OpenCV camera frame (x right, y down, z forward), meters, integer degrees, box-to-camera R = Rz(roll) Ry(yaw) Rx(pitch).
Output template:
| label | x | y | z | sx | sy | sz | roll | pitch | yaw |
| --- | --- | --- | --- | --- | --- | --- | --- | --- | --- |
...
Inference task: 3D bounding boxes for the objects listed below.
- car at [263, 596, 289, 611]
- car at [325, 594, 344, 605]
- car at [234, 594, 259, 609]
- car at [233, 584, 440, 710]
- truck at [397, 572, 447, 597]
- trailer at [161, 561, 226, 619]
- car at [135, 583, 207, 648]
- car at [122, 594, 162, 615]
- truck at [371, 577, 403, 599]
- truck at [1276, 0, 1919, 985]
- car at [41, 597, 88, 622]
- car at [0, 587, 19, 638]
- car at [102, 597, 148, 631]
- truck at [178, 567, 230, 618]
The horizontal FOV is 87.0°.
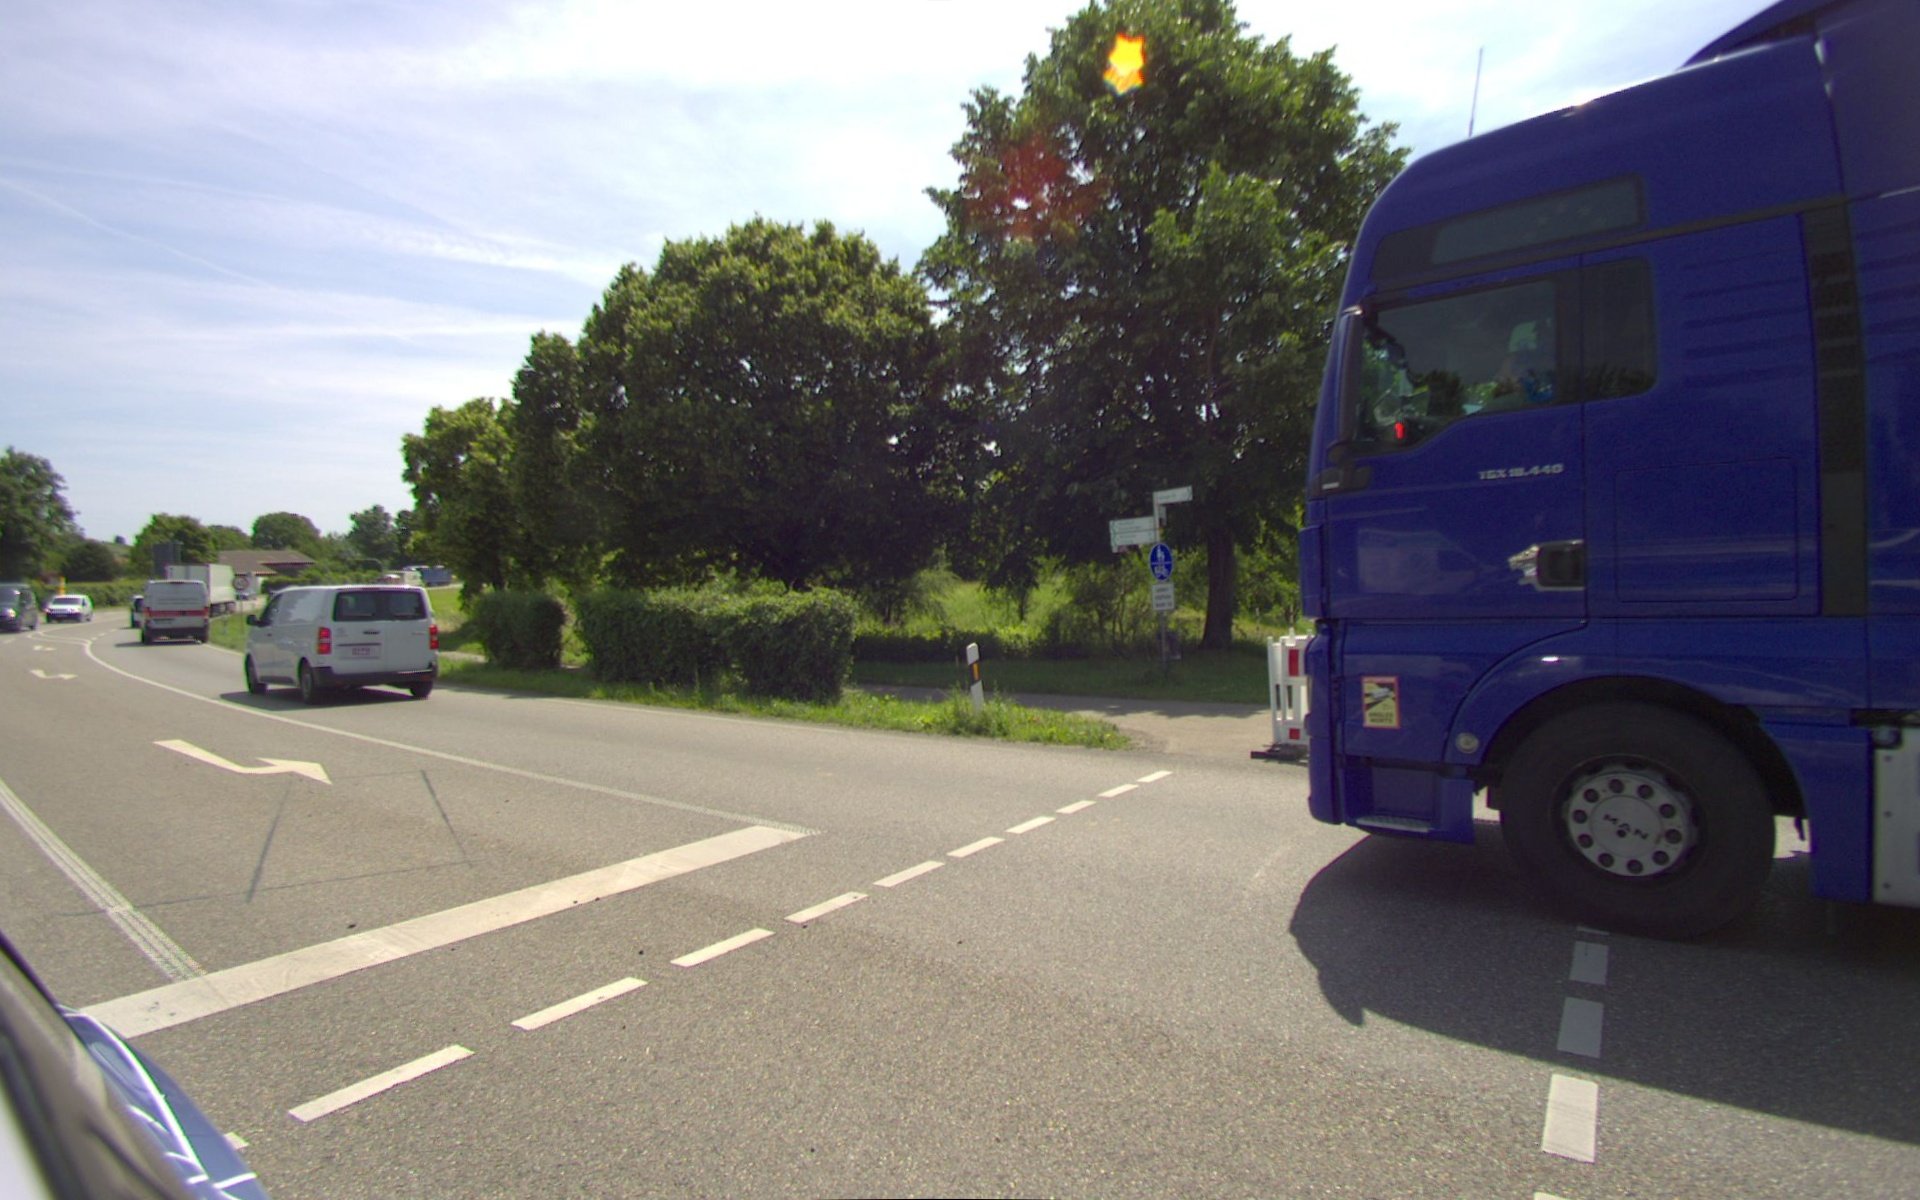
| label | x | y | z | sx | sy | sz | roll | pitch | yaw |
| --- | --- | --- | --- | --- | --- | --- | --- | --- | --- |
| car | -74.404 | 0.369 | 110.057 | 1.593 | 1.570 | 4.013 | -1 | 1 | -23 |
| car | -87.524 | -0.051 | 141.614 | 1.593 | 1.473 | 3.482 | -1 | 1 | -19 |
| car | -88.975 | 0.250 | 126.283 | 1.779 | 1.746 | 4.013 | -2 | 0 | -24 |
| car | -10.996 | 0.737 | 17.673 | 4.952 | 1.900 | 1.850 | -1 | -1 | 43 |
| truck | -105.336 | -3.146 | 198.625 | 2.704 | 4.643 | 16.183 | -1 | 1 | -6 |
| trailer | -58.410 | -0.667 | 77.370 | 2.739 | 4.133 | 11.695 | 1 | -1 | -31 |
| car | -32.382 | 0.635 | 41.450 | 2.026 | 2.470 | 5.275 | 0 | -1 | -41 |
| car | -73.633 | 0.435 | 91.115 | 1.779 | 1.746 | 4.013 | -2 | 0 | -24 |
| truck | -95.006 | -2.071 | 167.858 | 2.928 | 3.596 | 6.918 | 0 | 1 | -15 |
| truck | 4.969 | -0.682 | 4.030 | 6.550 | 4.060 | 2.542 | -2 | -1 | 38 |
| car | -59.049 | 0.604 | 66.772 | 1.754 | 1.504 | 4.169 | -1 | 1 | -34 |
| car | -49.911 | 0.608 | 52.049 | 4.159 | 2.538 | 1.954 | 0 | 1 | 44 |
| car | -48.527 | 0.796 | 58.889 | 1.849 | 1.879 | 5.152 | -1 | 0 | -37 |
| truck | -61.169 | -0.580 | 81.988 | 2.739 | 3.973 | 5.722 | 1 | -1 | -31 |
